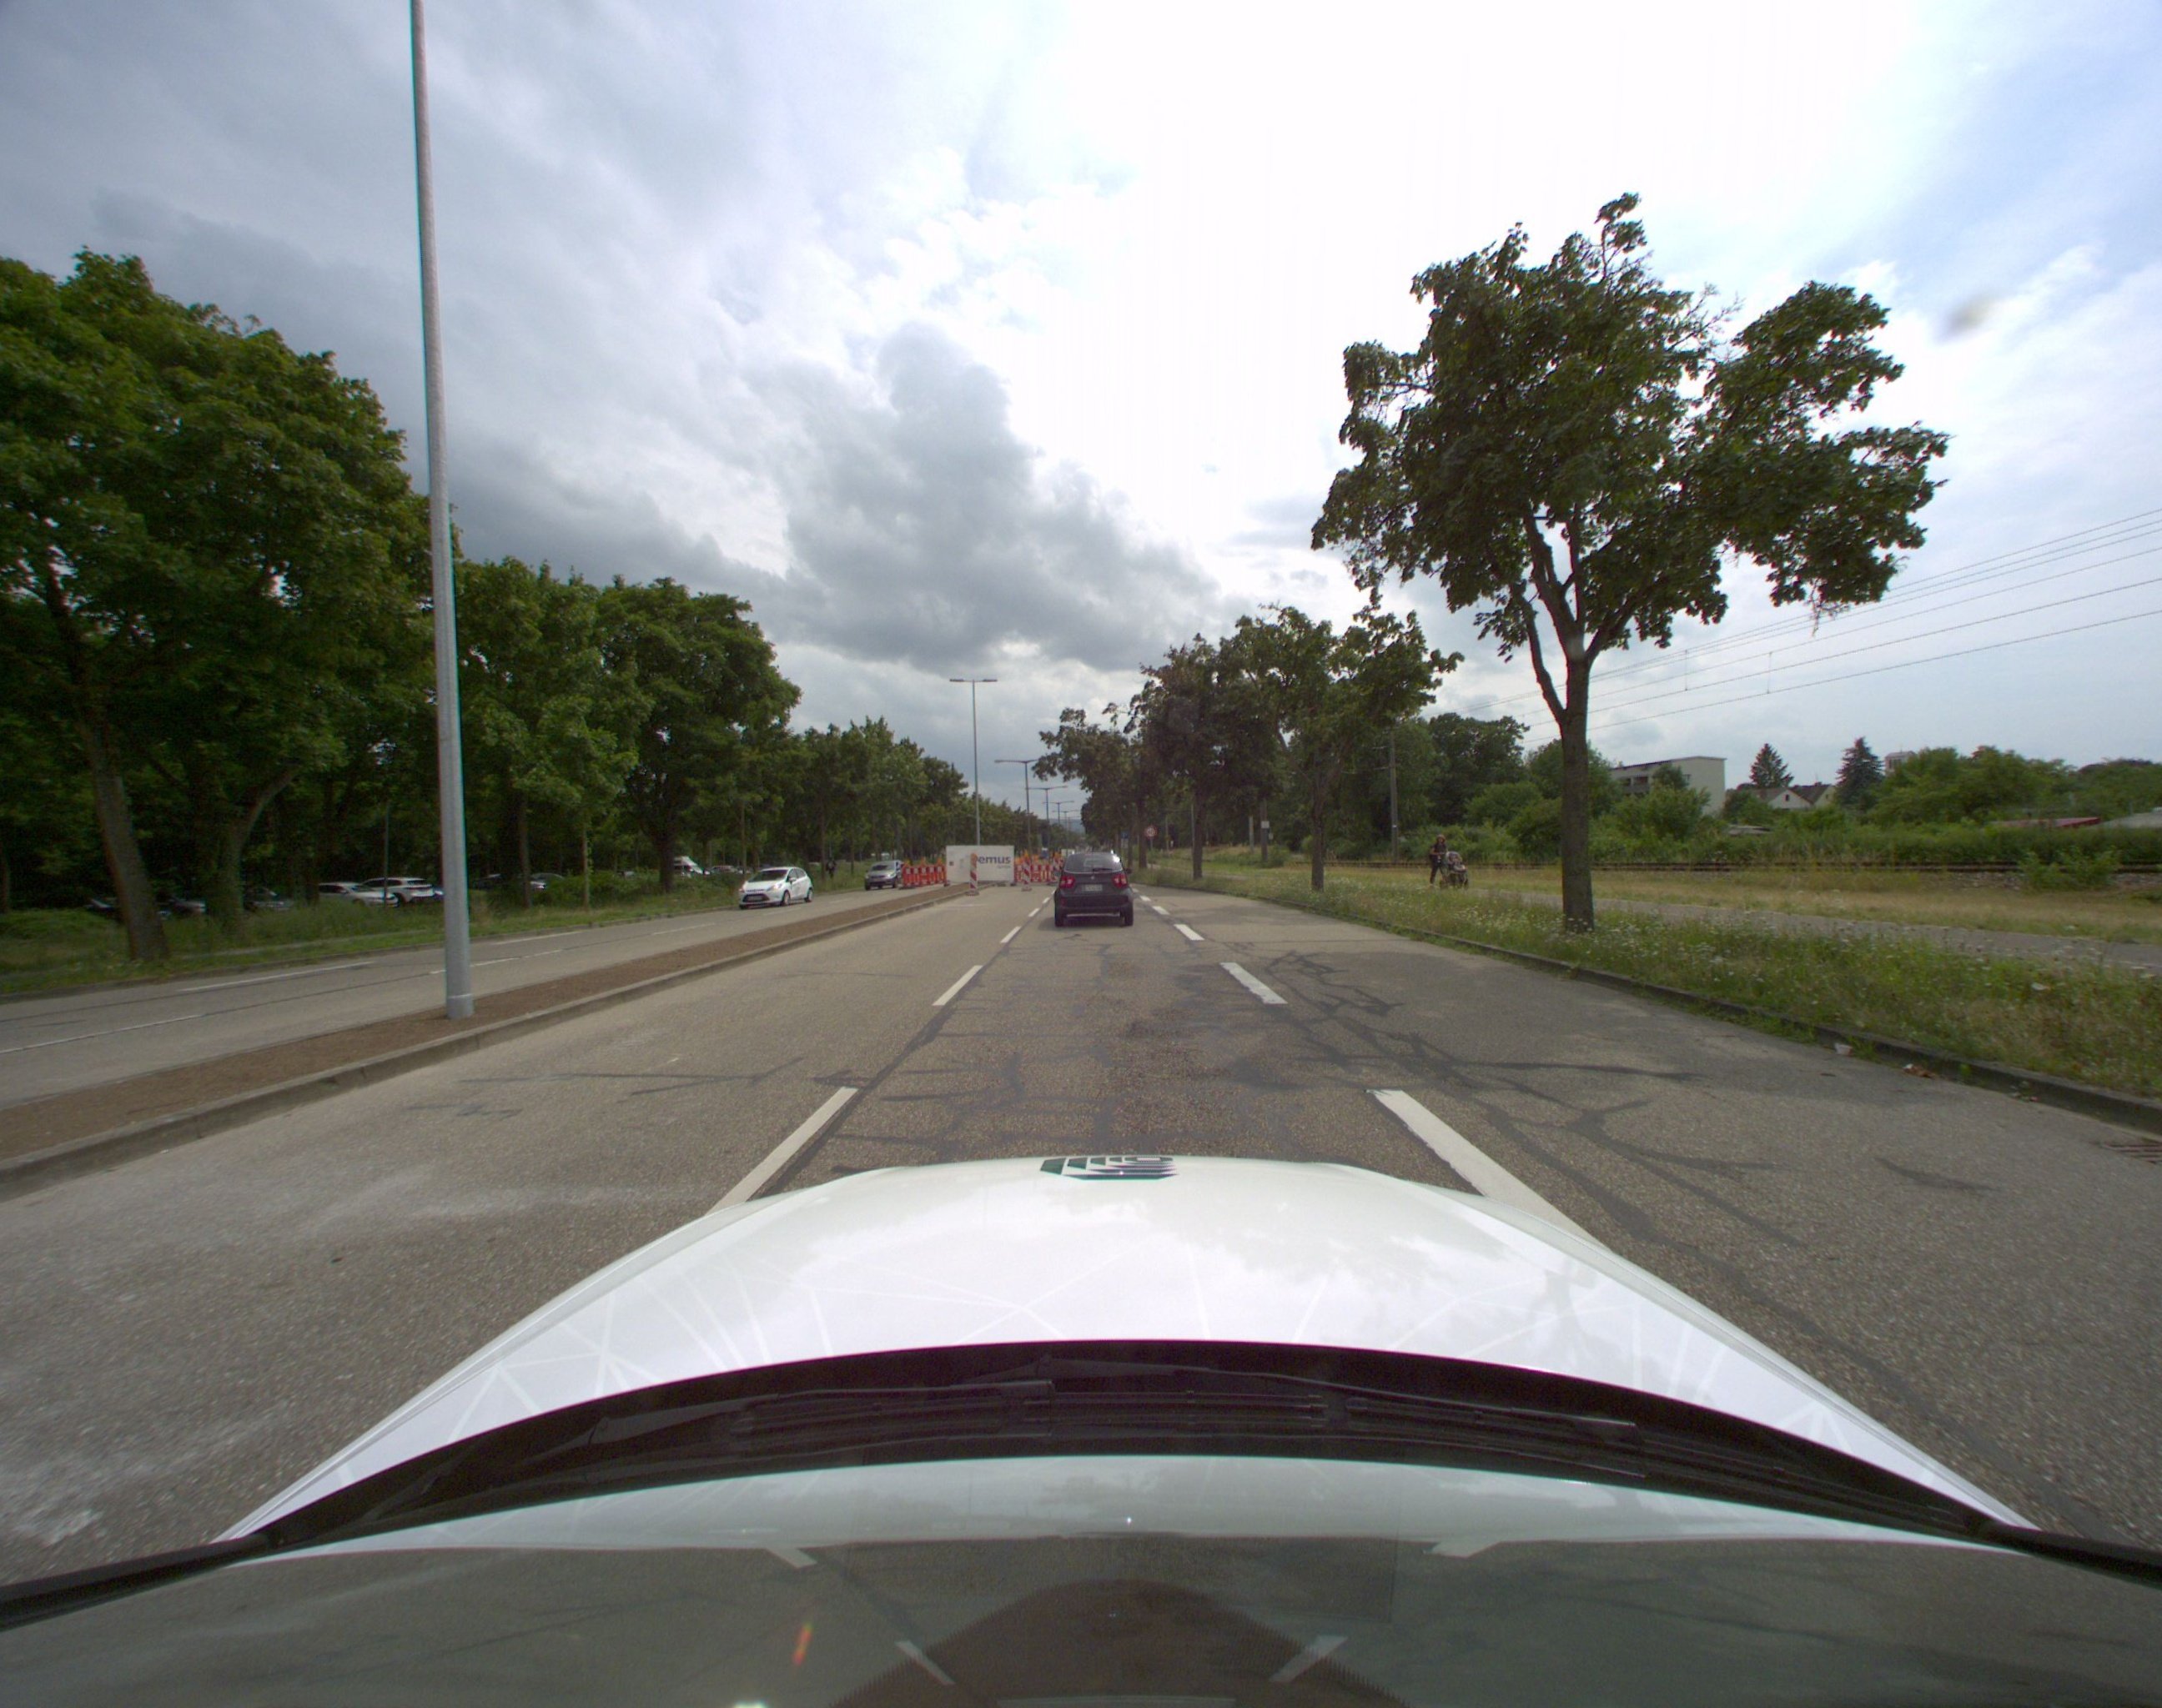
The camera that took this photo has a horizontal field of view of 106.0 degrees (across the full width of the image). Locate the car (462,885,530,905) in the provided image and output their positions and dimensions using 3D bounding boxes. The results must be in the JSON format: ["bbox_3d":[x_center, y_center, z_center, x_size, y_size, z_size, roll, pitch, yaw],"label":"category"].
[{"bbox_3d":[-37.408,2.598,52.114,3.353,1.094,1.442,-2,0,2],"label":"car"}]

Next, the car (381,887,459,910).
[{"bbox_3d":[-38.391,2.587,47.330,3.353,1.113,1.442,-2,0,2],"label":"car"}]

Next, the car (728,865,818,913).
[{"bbox_3d":[-11.357,1.236,30.336,1.684,1.477,4.001,-3,0,1],"label":"car"}]

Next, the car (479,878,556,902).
[{"bbox_3d":[-37.713,2.388,54.554,3.716,1.409,2.001,-2,0,2],"label":"car"}]

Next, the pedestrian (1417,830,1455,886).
[{"bbox_3d":[11.014,0.118,25.278,0.689,1.695,0.933,-2,0,-3],"label":"pedestrian"}]

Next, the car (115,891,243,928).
[{"bbox_3d":[-38.439,2.338,34.754,3.630,1.360,1.710,-2,0,3],"label":"car"}]

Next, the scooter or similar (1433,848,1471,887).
[{"bbox_3d":[11.082,0.394,24.348,0.680,1.130,0.933,-2,0,-4],"label":"scooter or similar"}]

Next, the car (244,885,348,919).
[{"bbox_3d":[-38.279,2.333,39.759,3.633,1.411,1.519,-2,0,3],"label":"car"}]

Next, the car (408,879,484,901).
[{"bbox_3d":[-37.737,2.147,48.429,3.353,1.128,1.442,-2,0,2],"label":"car"}]

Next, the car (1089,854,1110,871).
[{"bbox_3d":[1.747,0.805,78.670,1.788,1.562,3.999,-2,0,-1],"label":"car"}]

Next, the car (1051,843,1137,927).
[{"bbox_3d":[0.267,0.624,18.569,1.698,1.668,4.000,-2,0,0],"label":"car"}]

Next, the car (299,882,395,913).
[{"bbox_3d":[-38.070,2.269,42.300,3.633,1.411,1.519,-2,0,3],"label":"car"}]

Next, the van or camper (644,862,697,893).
[{"bbox_3d":[-39.025,2.222,77.456,3.973,2.756,1.927,-2,0,1],"label":"van or camper"}]

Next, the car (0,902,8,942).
[{"bbox_3d":[-38.982,2.404,27.220,3.970,1.360,1.824,-2,0,3],"label":"car"}]

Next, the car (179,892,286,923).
[{"bbox_3d":[-38.219,2.398,36.724,3.280,1.206,1.519,-2,0,3],"label":"car"}]

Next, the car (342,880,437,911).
[{"bbox_3d":[-38.099,2.283,44.914,3.633,1.519,1.884,-2,0,3],"label":"car"}]

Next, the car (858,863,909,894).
[{"bbox_3d":[-10.830,1.296,44.985,1.698,1.477,4.001,-3,0,1],"label":"car"}]

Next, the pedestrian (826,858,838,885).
[{"bbox_3d":[-17.207,1.226,56.186,0.693,1.838,0.647,-2,0,-21],"label":"pedestrian"}]

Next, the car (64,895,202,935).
[{"bbox_3d":[-38.154,2.427,32.817,3.630,1.360,1.710,-2,0,3],"label":"car"}]

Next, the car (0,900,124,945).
[{"bbox_3d":[-38.195,2.520,29.889,3.967,1.410,2.004,-2,0,6],"label":"car"}]

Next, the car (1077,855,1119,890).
[{"bbox_3d":[0.743,0.844,38.900,1.762,1.464,3.997,-2,0,-2],"label":"car"}]

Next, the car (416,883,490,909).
[{"bbox_3d":[-38.232,2.571,49.601,3.535,1.411,1.323,-2,0,3],"label":"car"}]
